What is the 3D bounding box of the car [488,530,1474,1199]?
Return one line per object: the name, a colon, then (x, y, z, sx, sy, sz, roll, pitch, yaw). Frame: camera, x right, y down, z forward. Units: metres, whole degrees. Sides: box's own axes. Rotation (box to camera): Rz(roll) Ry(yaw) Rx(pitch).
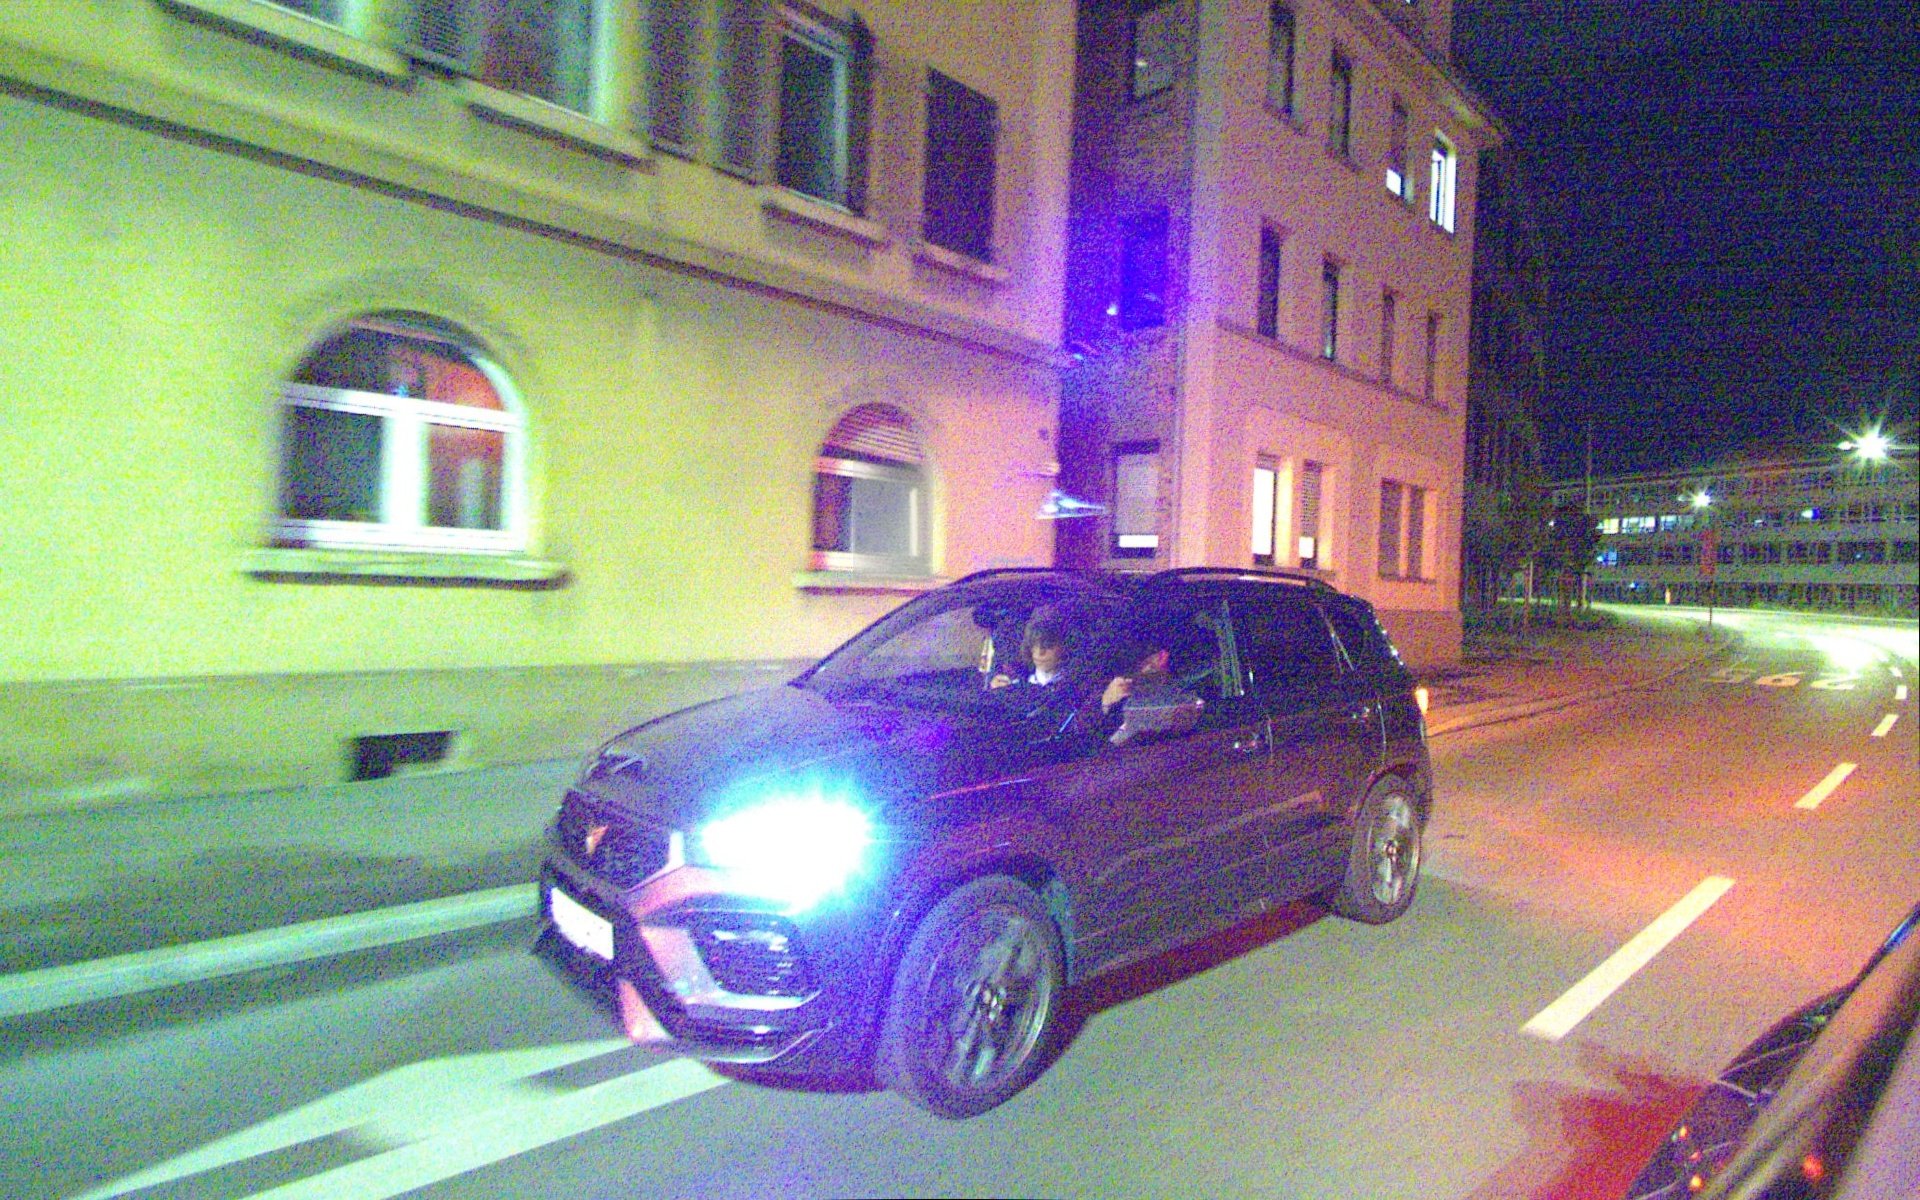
car: (0.449, 0.606, 4.289, 4.156, 1.630, 1.673, -1, 2, -41)
